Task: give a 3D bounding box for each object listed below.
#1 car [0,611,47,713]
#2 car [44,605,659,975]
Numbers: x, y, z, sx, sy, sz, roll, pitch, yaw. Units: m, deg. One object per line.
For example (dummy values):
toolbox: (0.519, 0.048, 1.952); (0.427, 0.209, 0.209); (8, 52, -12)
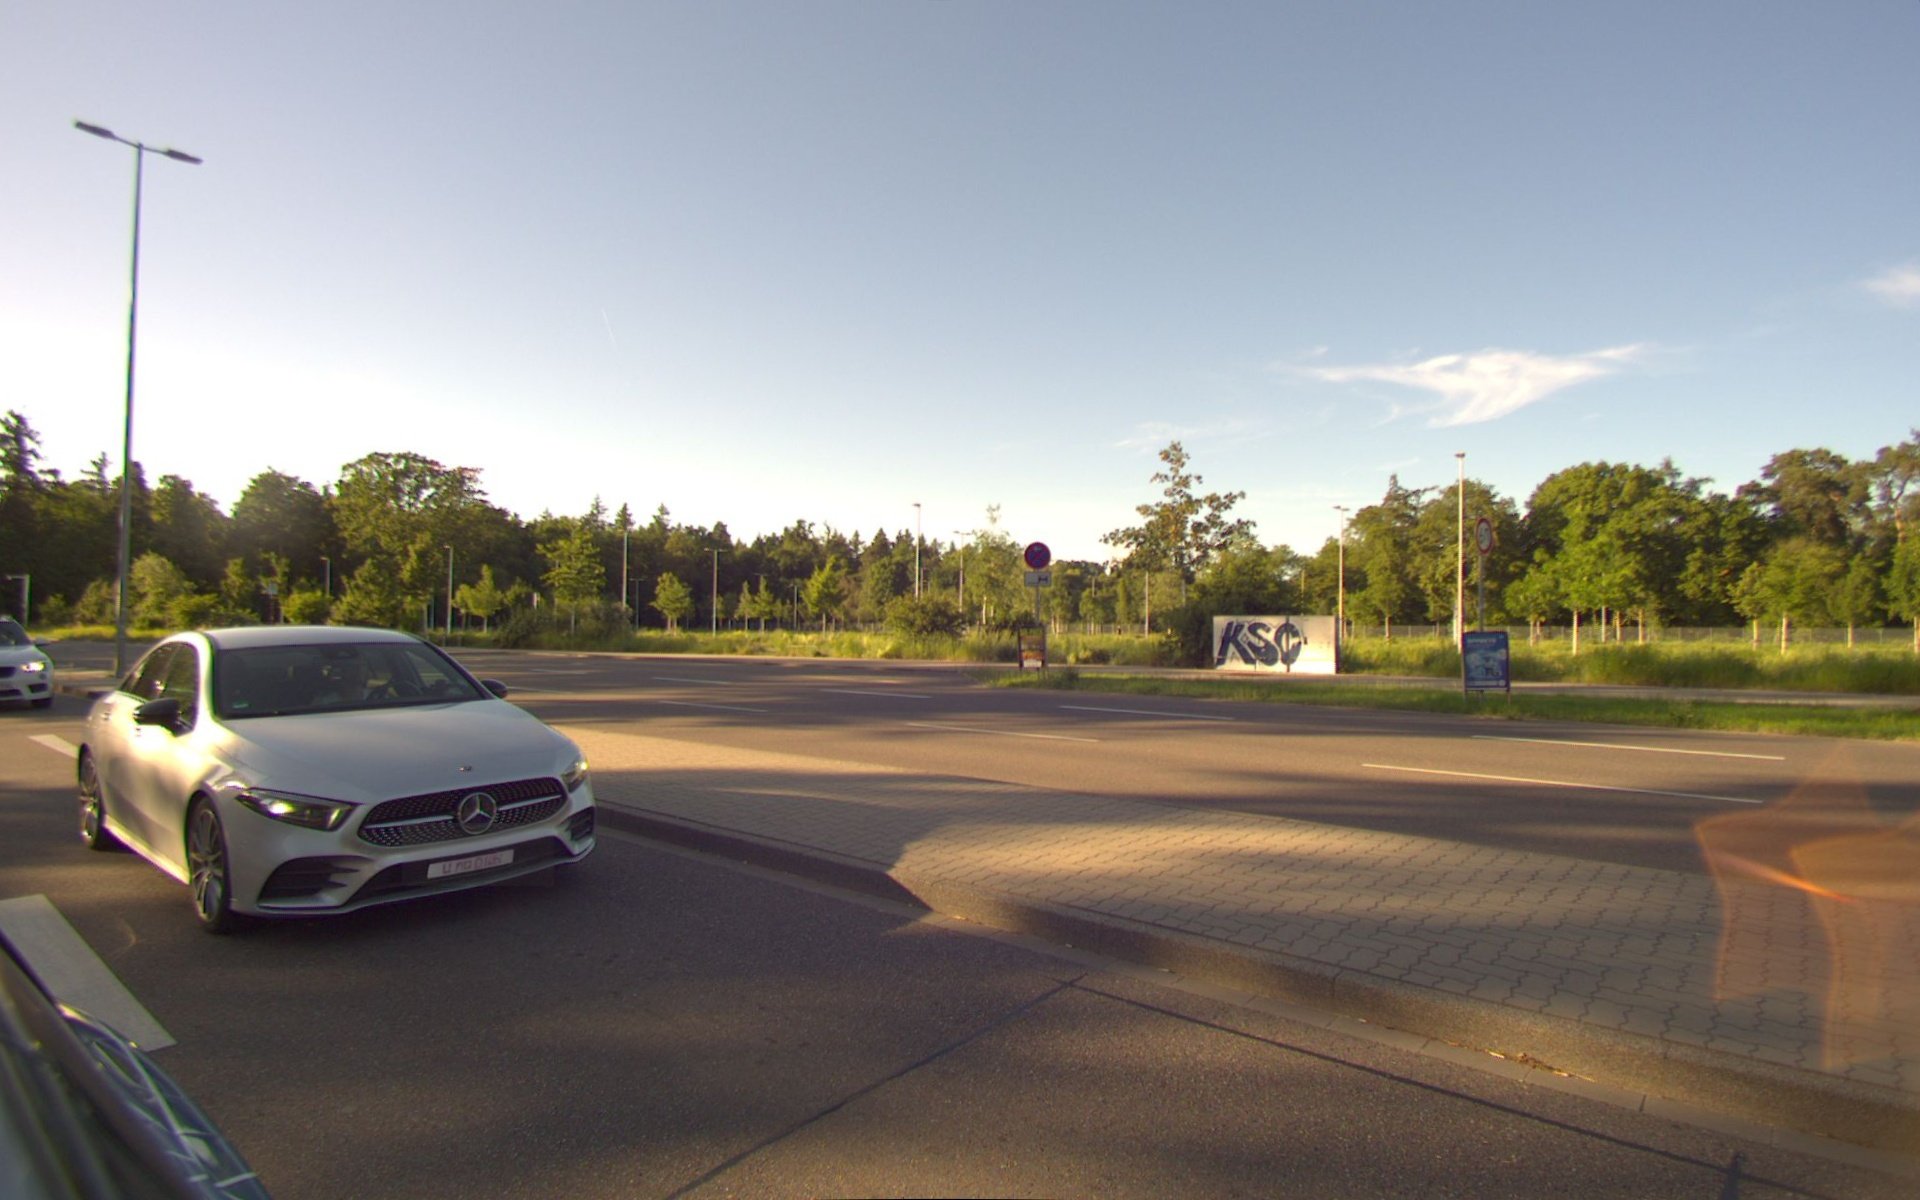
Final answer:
car: (-16.855, 1.074, 17.028); (4.431, 1.593, 1.701); (-4, -2, 41)
car: (-3.842, 0.818, 6.066); (4.272, 1.455, 1.768); (-2, -1, 38)
